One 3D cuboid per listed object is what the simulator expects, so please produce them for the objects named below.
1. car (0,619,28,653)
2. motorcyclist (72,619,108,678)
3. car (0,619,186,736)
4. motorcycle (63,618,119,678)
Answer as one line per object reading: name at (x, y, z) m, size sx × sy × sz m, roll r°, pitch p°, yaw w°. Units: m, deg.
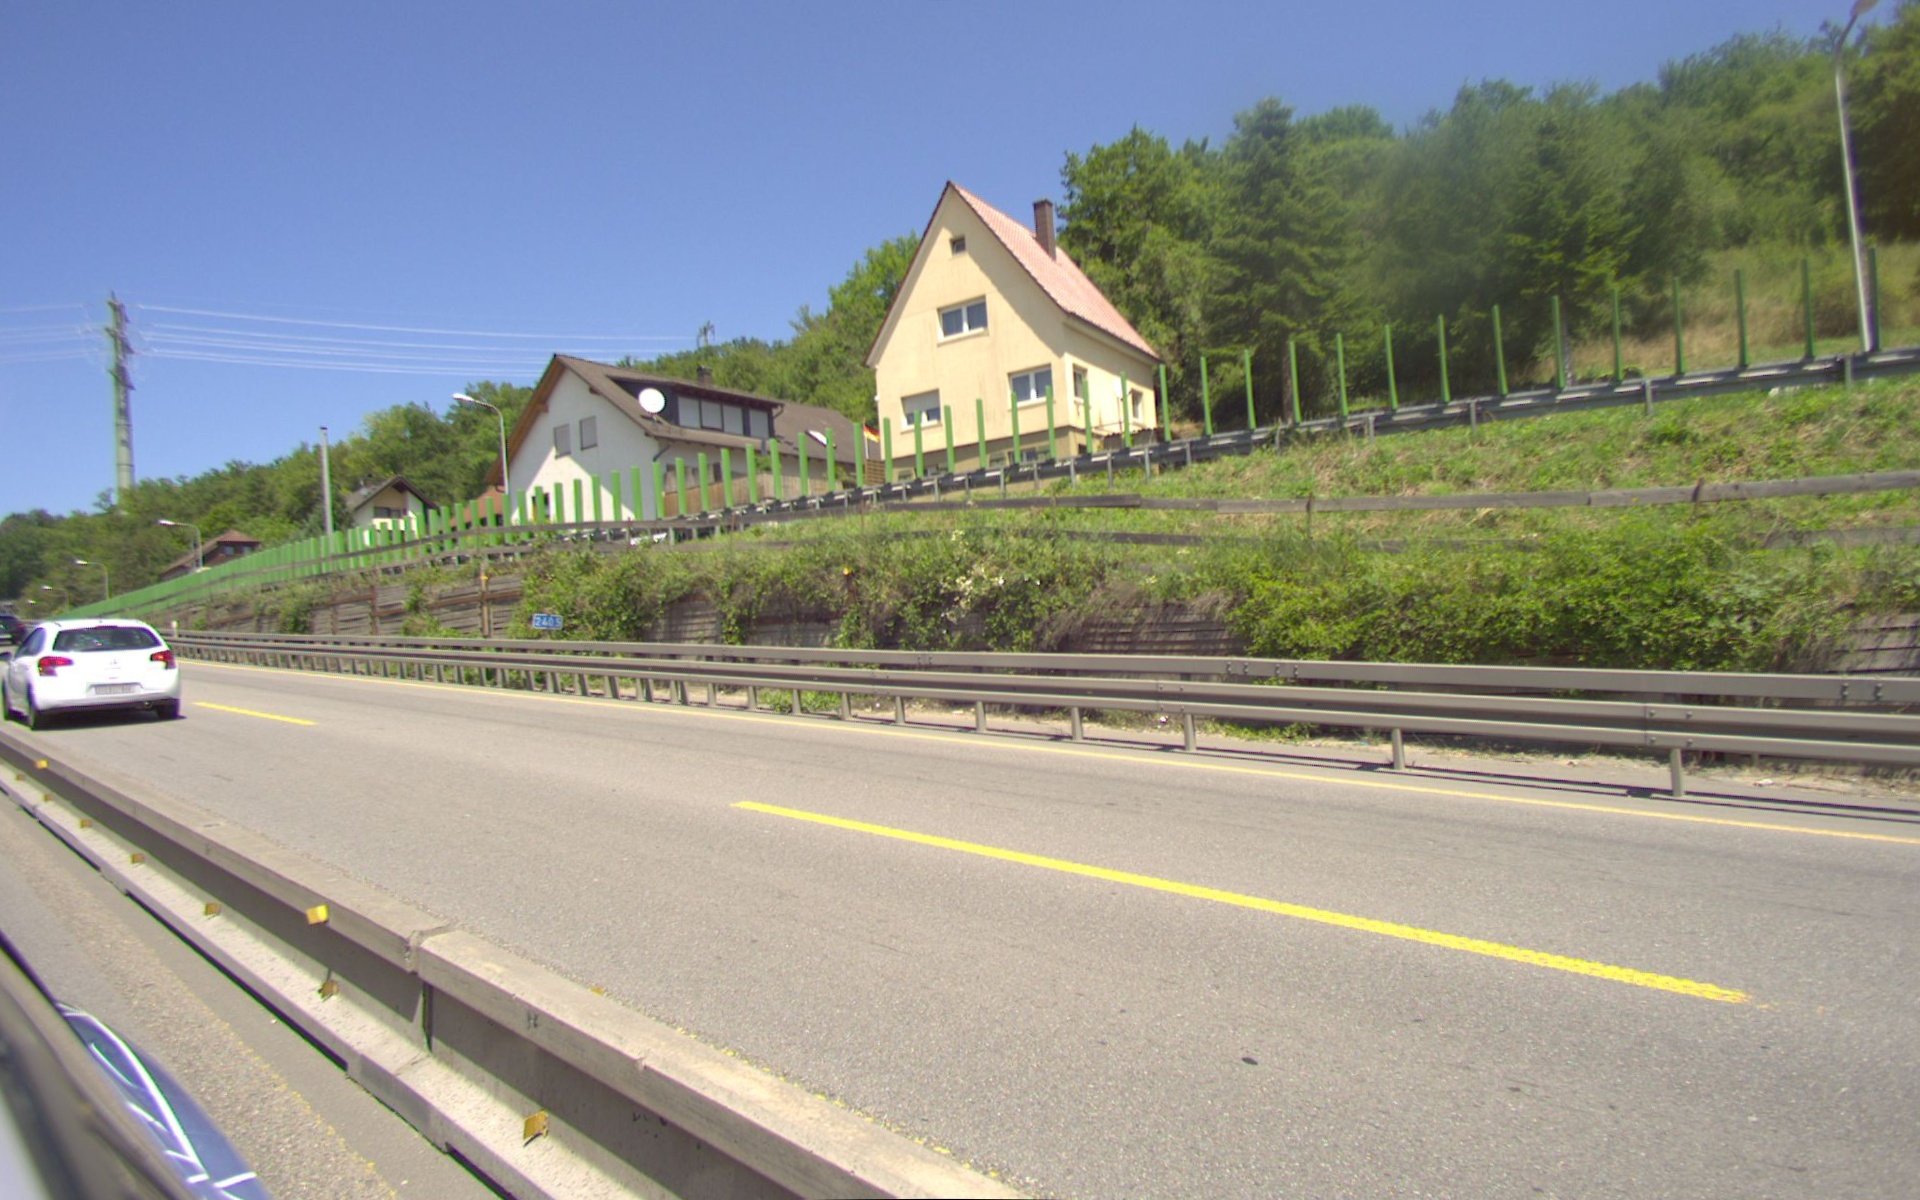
car at (-44.813, 1.658, 46.836) m, size 5.002 × 1.459 × 1.796 m, roll -1°, pitch 2°, yaw 40°
motorcyclist at (-24.267, 1.334, 28.241) m, size 0.736 × 1.597 × 0.658 m, roll -1°, pitch 0°, yaw 41°
car at (-13.271, 1.068, 15.240) m, size 3.862 × 1.497 × 1.749 m, roll -1°, pitch 0°, yaw 40°
motorcycle at (-24.217, 1.325, 28.198) m, size 2.619 × 1.563 × 0.782 m, roll -2°, pitch 0°, yaw 41°
